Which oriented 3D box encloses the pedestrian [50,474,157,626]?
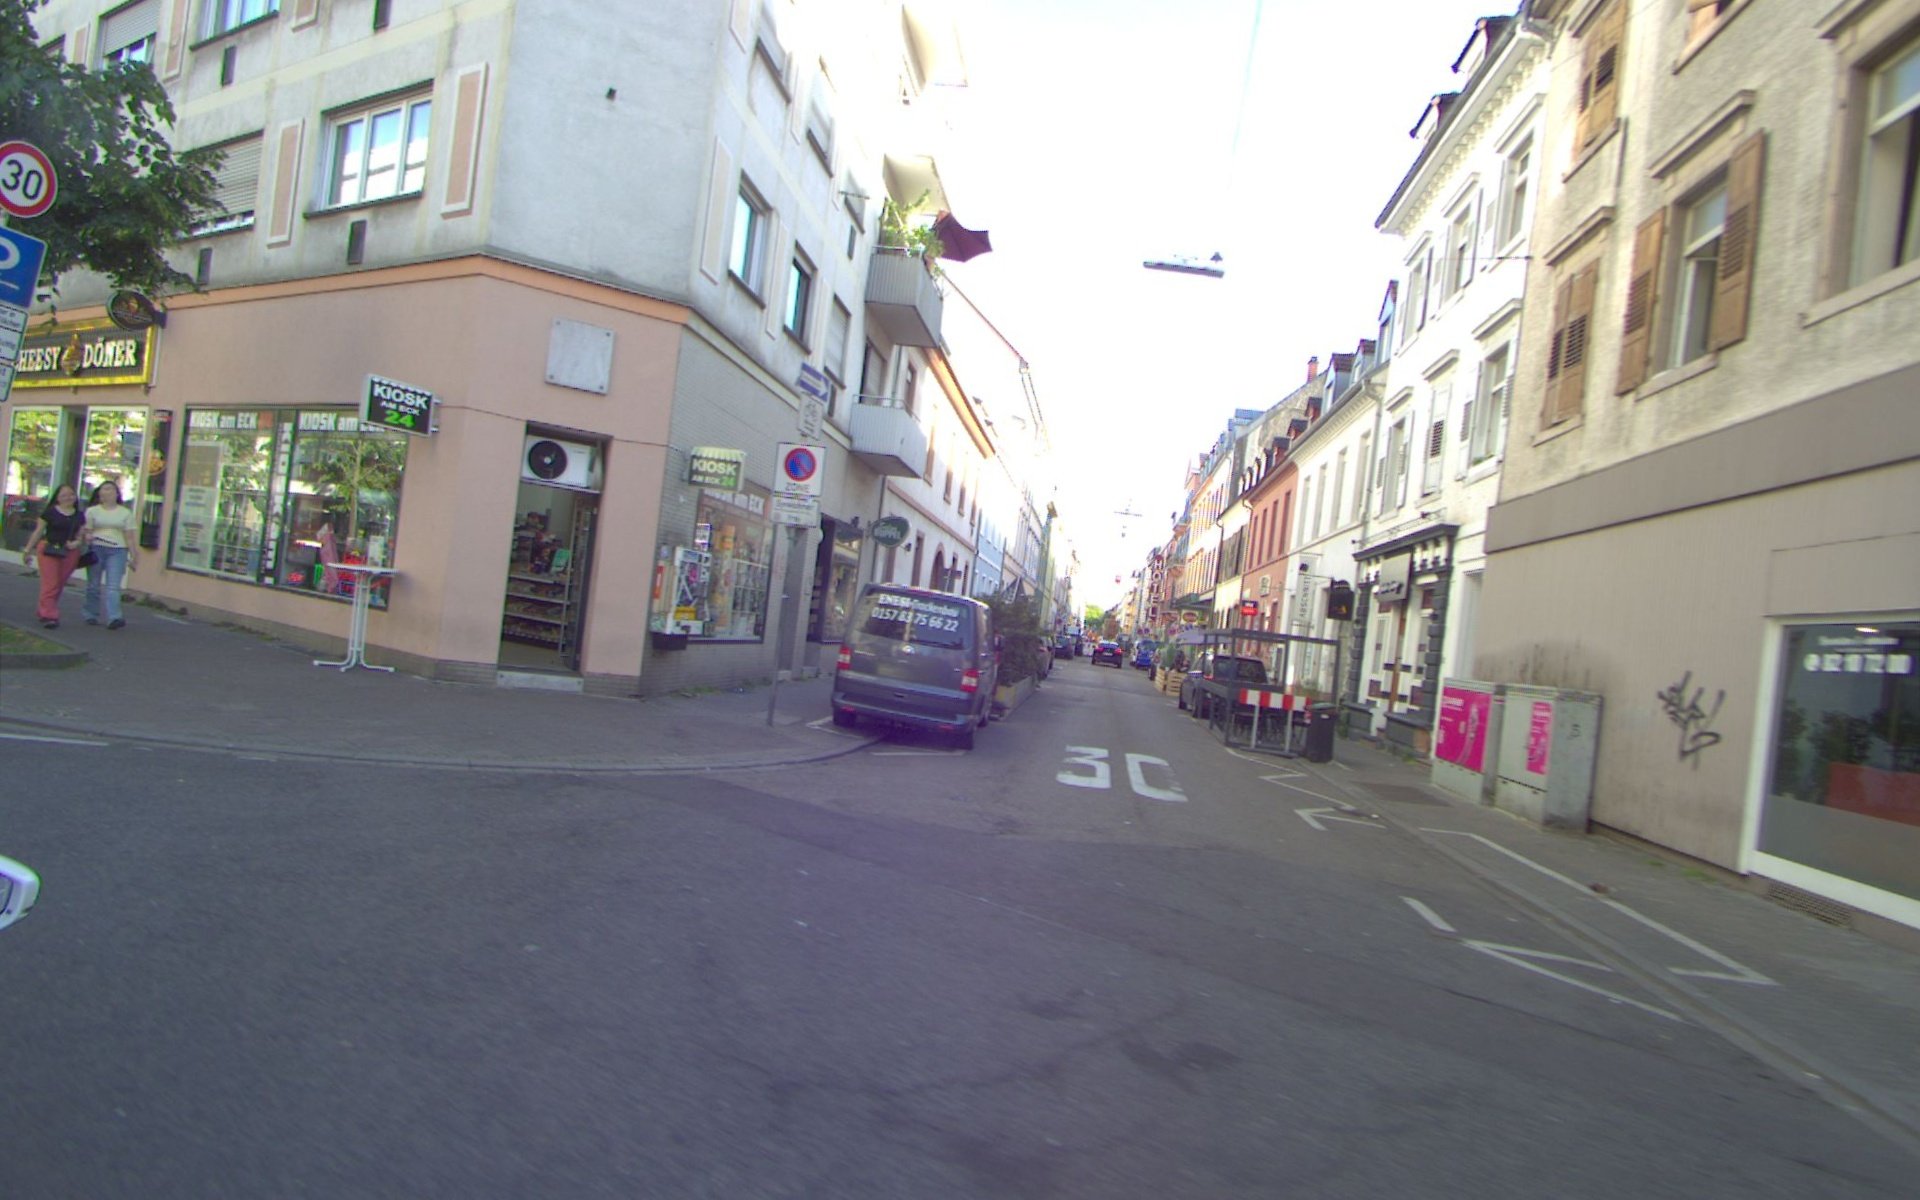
[{"bbox_3d":[-10.015,-0.574,11.766,0.736,1.666,0.642,7,2,30],"label":"pedestrian"}]

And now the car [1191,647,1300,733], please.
[{"bbox_3d":[7.051,2.173,25.263,1.905,1.663,4.054,9,-1,8],"label":"car"}]

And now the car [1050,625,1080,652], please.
[{"bbox_3d":[7.855,2.880,74.938,1.905,1.664,3.824,9,-1,8],"label":"car"}]

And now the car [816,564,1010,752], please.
[{"bbox_3d":[-0.453,0.739,14.149,1.905,1.940,4.496,9,-1,5],"label":"car"}]

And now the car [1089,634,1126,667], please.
[{"bbox_3d":[8.949,3.041,61.076,1.905,1.663,4.054,9,-1,8],"label":"car"}]

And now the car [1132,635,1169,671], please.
[{"bbox_3d":[12.287,3.412,65.125,1.905,1.970,4.054,9,0,8],"label":"car"}]

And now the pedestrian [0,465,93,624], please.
[{"bbox_3d":[-10.218,-0.617,11.221,0.736,1.666,0.514,7,2,31],"label":"pedestrian"}]

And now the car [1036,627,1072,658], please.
[{"bbox_3d":[6.139,2.729,65.319,1.905,1.664,3.824,9,-1,8],"label":"car"}]

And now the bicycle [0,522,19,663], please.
[{"bbox_3d":[-9.095,-0.181,8.878,2.109,1.178,0.508,7,0,31],"label":"bicycle"}]

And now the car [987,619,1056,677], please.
[{"bbox_3d":[2.222,1.673,35.215,1.905,1.663,3.826,7,-2,8],"label":"car"}]

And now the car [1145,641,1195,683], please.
[{"bbox_3d":[10.134,2.981,48.851,1.905,1.663,4.054,9,-1,8],"label":"car"}]
